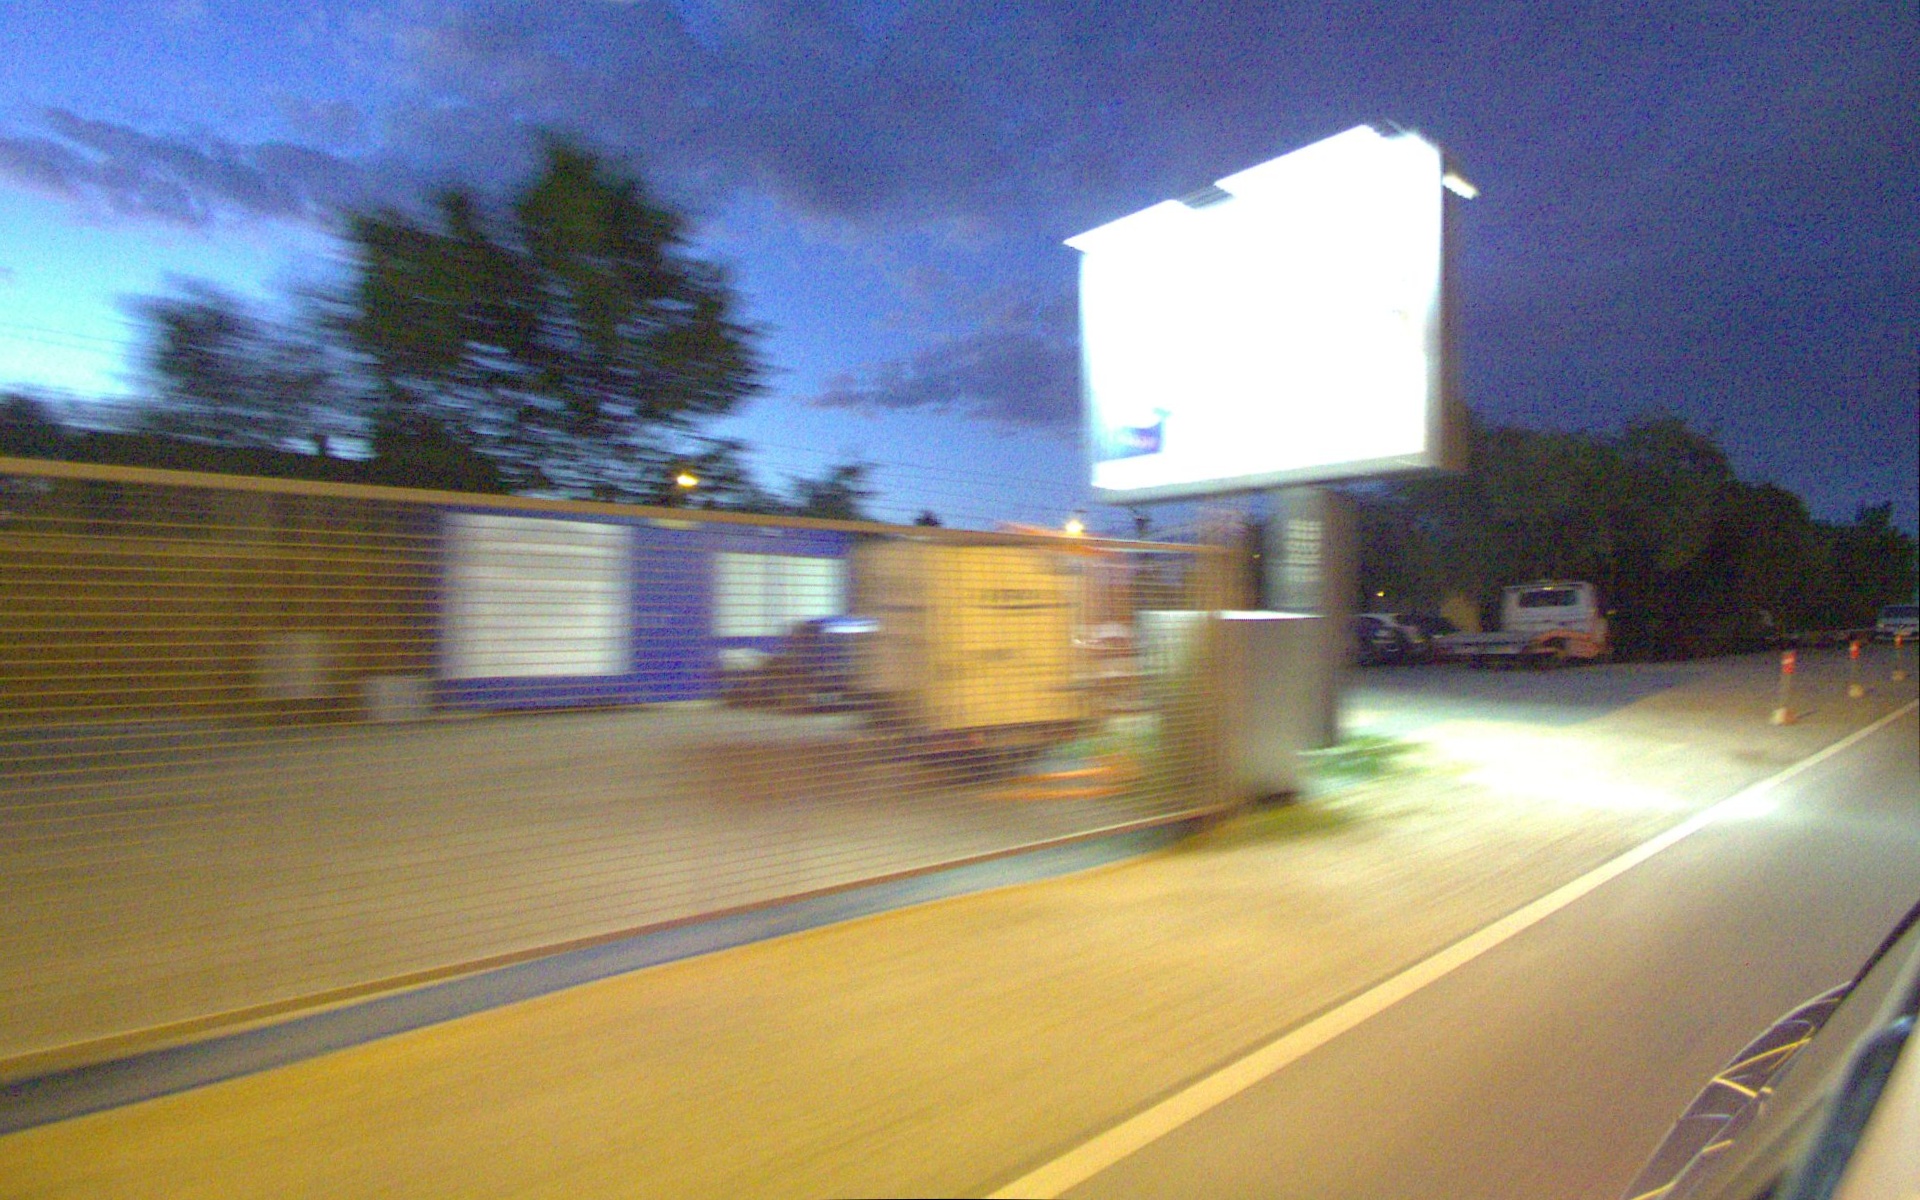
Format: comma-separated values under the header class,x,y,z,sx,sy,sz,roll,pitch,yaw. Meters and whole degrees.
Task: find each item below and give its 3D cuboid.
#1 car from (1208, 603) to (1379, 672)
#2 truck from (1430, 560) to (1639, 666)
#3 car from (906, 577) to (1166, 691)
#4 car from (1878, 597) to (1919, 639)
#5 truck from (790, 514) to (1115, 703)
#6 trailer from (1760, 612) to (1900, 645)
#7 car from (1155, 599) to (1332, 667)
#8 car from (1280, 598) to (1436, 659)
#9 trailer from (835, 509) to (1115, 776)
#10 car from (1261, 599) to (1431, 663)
class,x,y,z,sx,sy,sz,roll,pitch,yaw
car,8.502,0.922,26.035,1.680,1.616,3.859,0,-1,-43
truck,14.710,0.313,25.610,7.613,2.313,2.380,0,-1,-43
car,1.255,0.585,19.043,1.953,1.860,5.085,0,-1,-38
car,36.796,0.696,39.018,1.934,1.572,3.936,-2,-2,44
truck,-0.332,0.165,16.986,2.430,2.633,5.537,0,-1,-42
trailer,30.020,0.956,34.728,9.445,0.979,2.177,1,-3,-40
car,6.849,0.776,24.746,1.680,1.535,3.859,0,-1,-43
car,11.488,0.801,29.364,1.680,1.625,3.859,0,-1,-43
trailer,-0.071,0.328,9.760,1.580,2.039,3.767,1,0,-17
car,10.364,0.806,27.375,1.868,1.581,3.863,0,-1,-39
